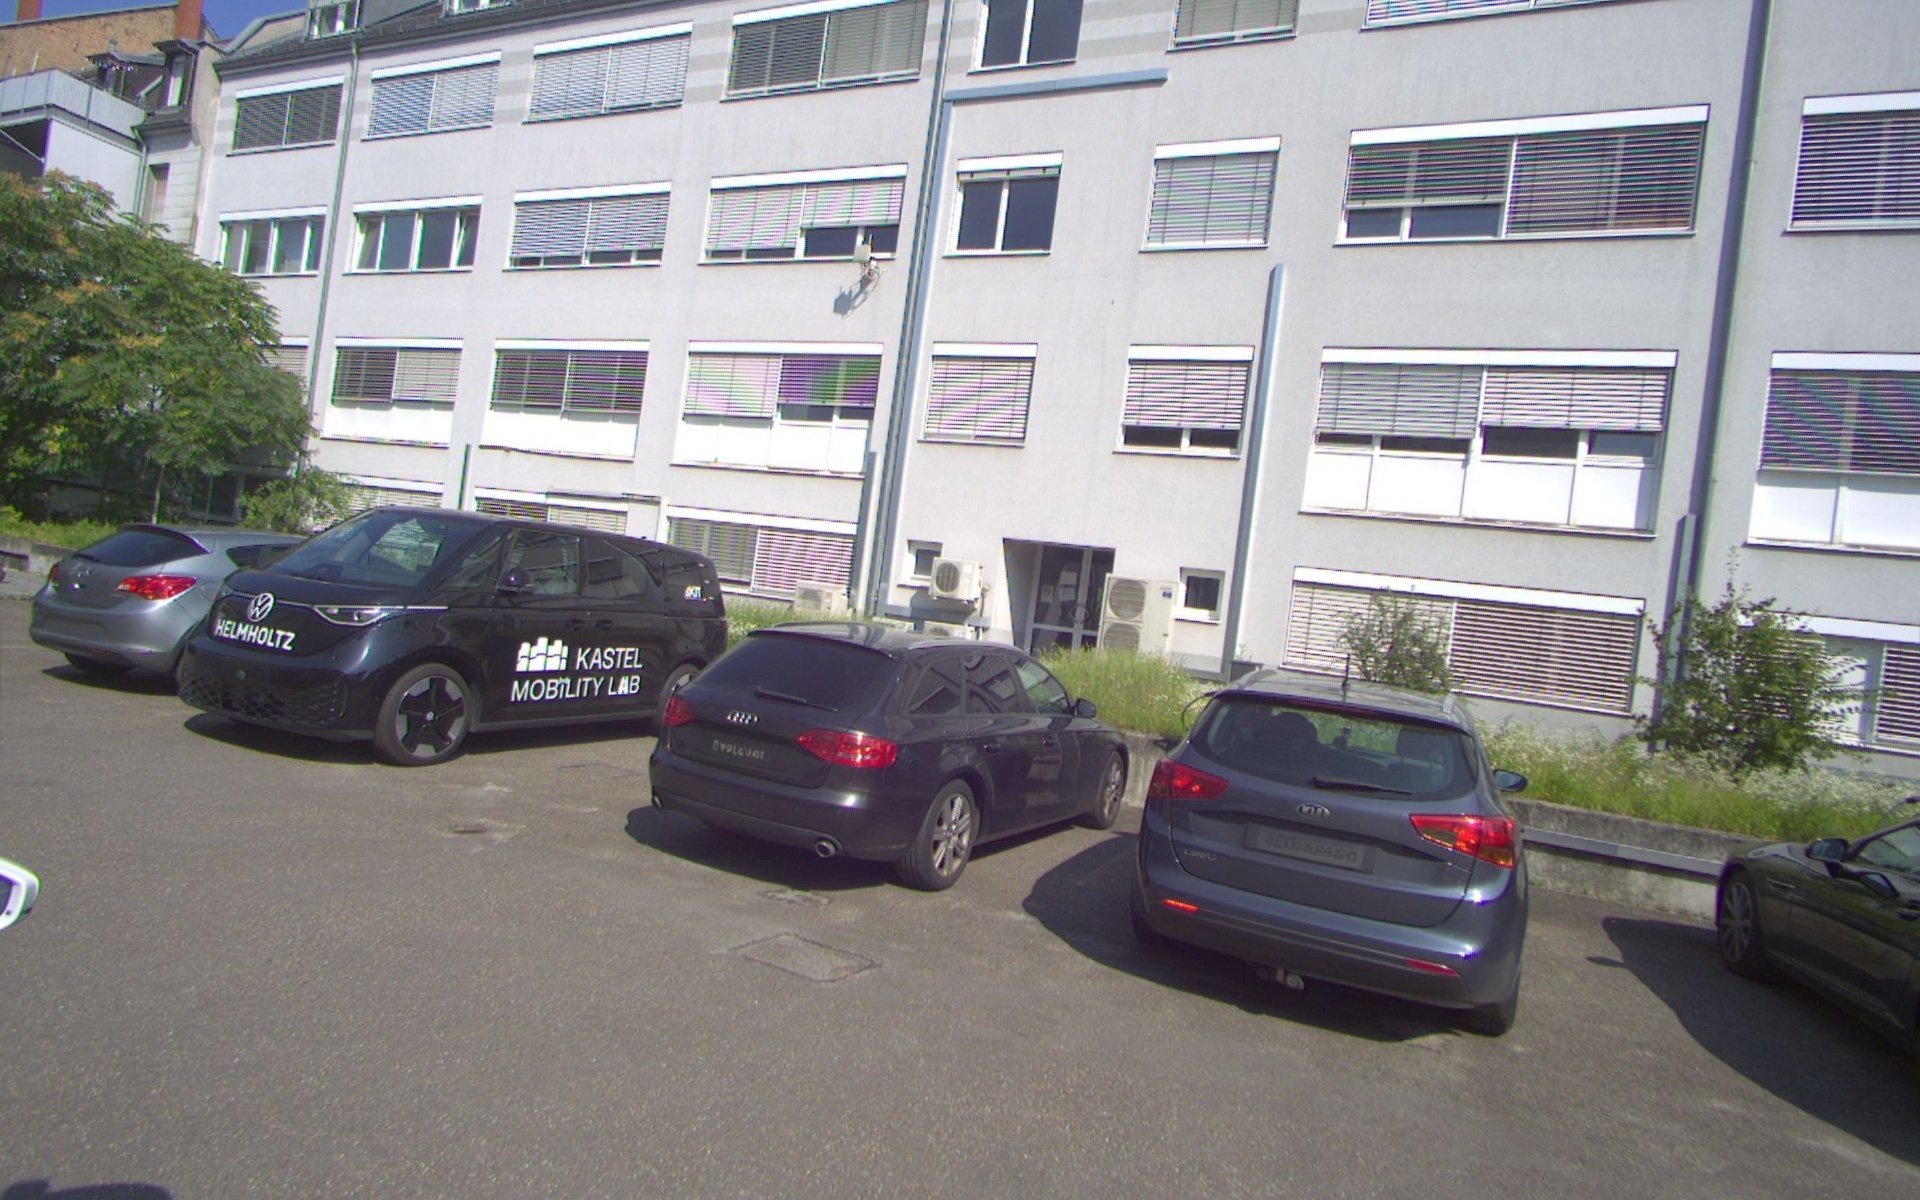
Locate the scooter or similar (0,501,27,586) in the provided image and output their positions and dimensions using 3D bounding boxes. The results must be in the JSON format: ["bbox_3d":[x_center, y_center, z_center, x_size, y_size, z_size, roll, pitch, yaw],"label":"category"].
[{"bbox_3d":[-15.179,-0.935,15.377,1.324,1.276,0.379,7,0,-2],"label":"scooter or similar"}]

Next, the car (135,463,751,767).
[{"bbox_3d":[-3.944,0.203,8.719,1.848,1.815,4.516,6,-1,21],"label":"car"}]

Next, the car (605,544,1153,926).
[{"bbox_3d":[-0.179,0.816,7.048,1.740,1.711,4.129,7,-2,28],"label":"car"}]

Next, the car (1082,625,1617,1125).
[{"bbox_3d":[2.273,1.179,5.793,1.846,1.607,3.875,7,-2,25],"label":"car"}]

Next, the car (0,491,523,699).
[{"bbox_3d":[-6.551,0.060,9.884,1.742,1.499,3.946,6,-2,21],"label":"car"}]

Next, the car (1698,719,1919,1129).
[{"bbox_3d":[5.151,1.527,4.508,1.862,1.607,3.814,7,-2,21],"label":"car"}]
